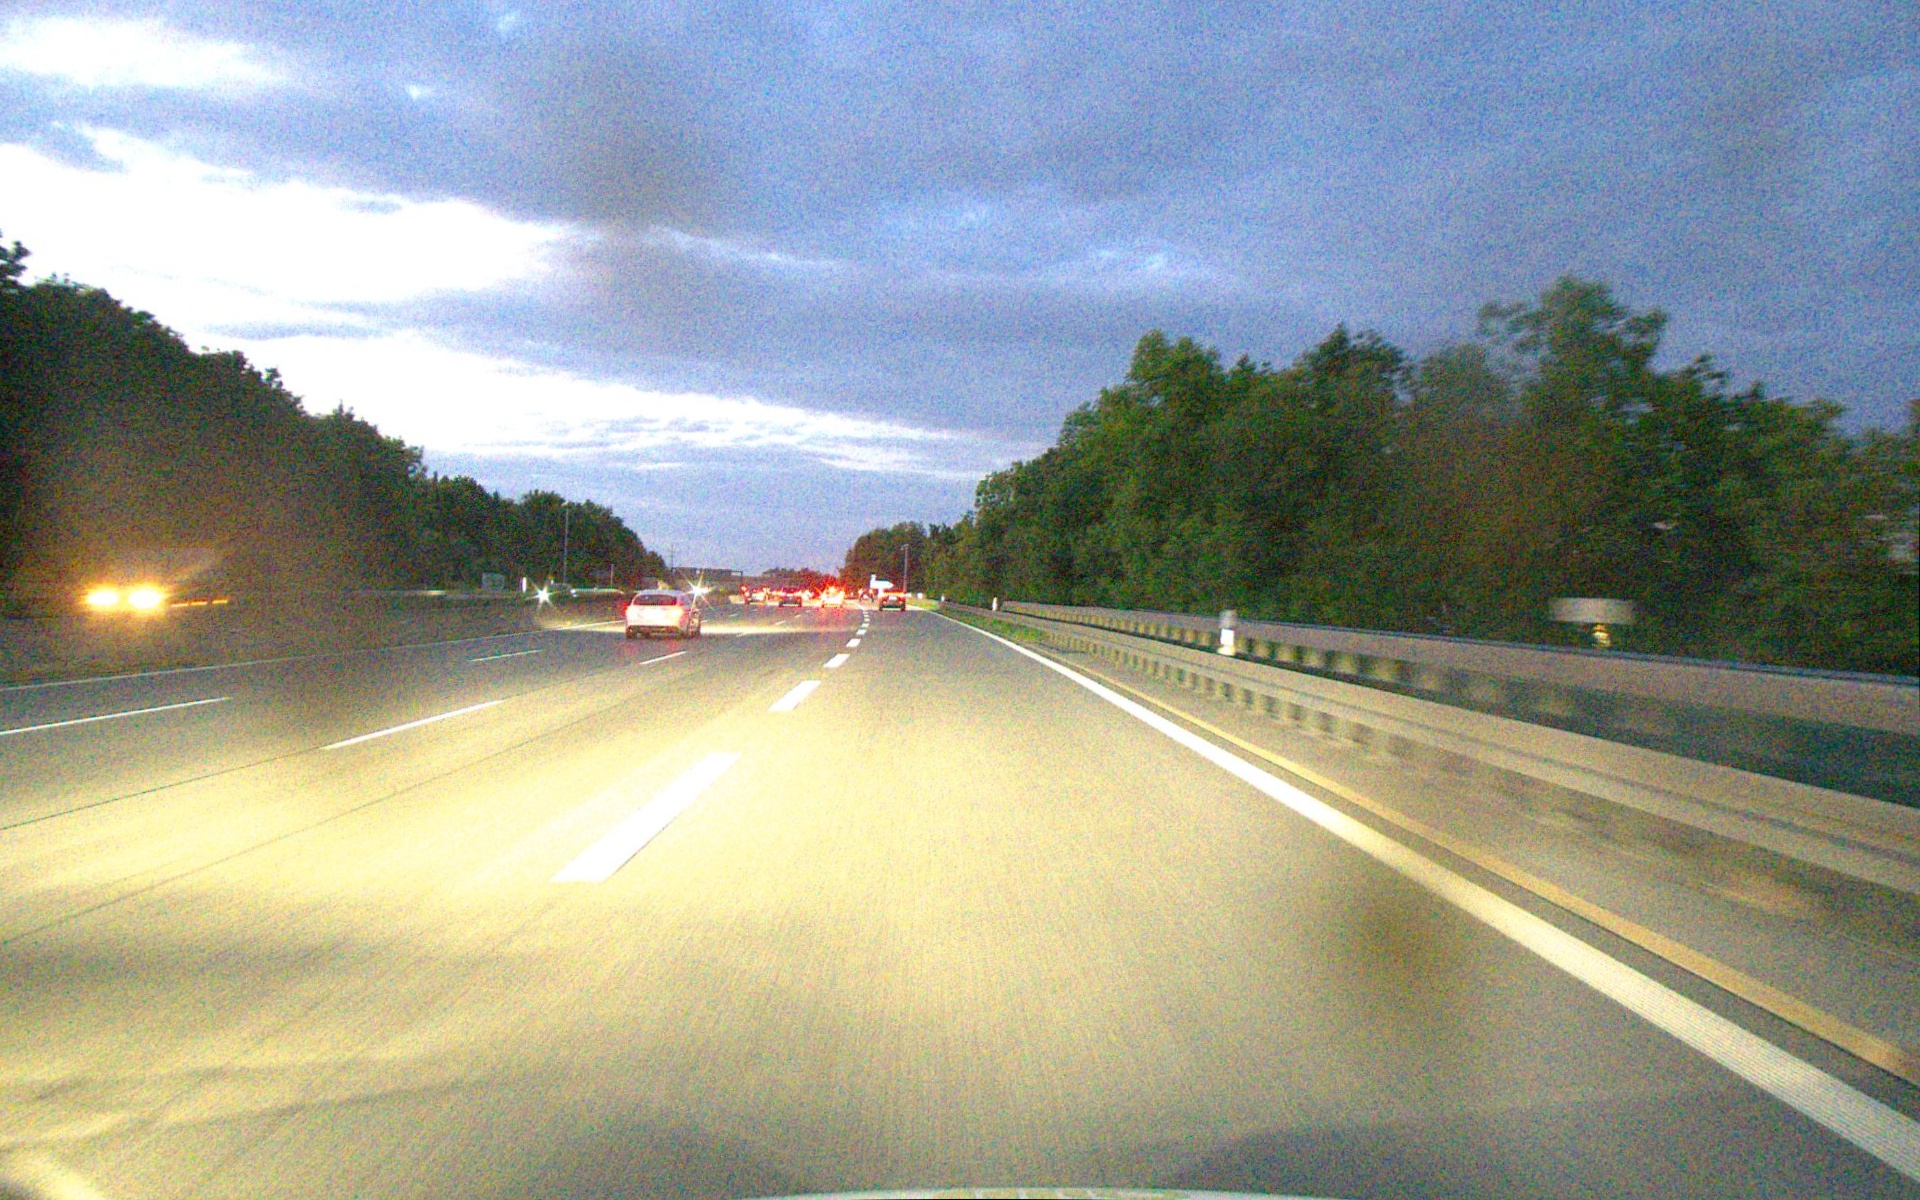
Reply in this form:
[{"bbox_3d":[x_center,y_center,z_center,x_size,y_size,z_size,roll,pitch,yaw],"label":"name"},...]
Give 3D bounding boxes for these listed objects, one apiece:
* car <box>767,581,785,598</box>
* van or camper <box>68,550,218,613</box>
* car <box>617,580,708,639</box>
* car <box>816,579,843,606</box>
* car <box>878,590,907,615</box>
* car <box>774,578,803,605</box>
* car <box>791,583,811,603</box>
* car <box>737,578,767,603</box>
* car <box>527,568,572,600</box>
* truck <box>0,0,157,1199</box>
[{"bbox_3d":[-23.974,-1.426,216.045,1.954,2.048,3.998,5,0,-3],"label":"car"},{"bbox_3d":[-28.586,-0.620,58.161,2.330,2.049,6.489,1,0,-3],"label":"van or camper"},{"bbox_3d":[-8.902,0.257,49.891,1.953,1.671,4.554,1,0,-1],"label":"car"},{"bbox_3d":[-10.158,-0.586,129.056,1.954,2.049,3.997,1,0,-4],"label":"car"},{"bbox_3d":[-4.754,0.159,115.585,1.954,1.688,4.312,0,0,-4],"label":"car"},{"bbox_3d":[-13.495,-0.687,130.397,2.030,2.049,3.998,0,0,-3],"label":"car"},{"bbox_3d":[-16.476,-0.734,171.384,1.955,2.049,3.994,1,0,-6],"label":"car"},{"bbox_3d":[-17.601,-0.813,139.977,2.061,2.049,4.000,0,0,0],"label":"car"},{"bbox_3d":[-27.692,-1.048,111.692,1.953,2.049,4.494,1,0,-1],"label":"car"},{"bbox_3d":[-3.495,-0.521,1.345,2.722,3.970,6.153,1,0,-1],"label":"truck"}]
